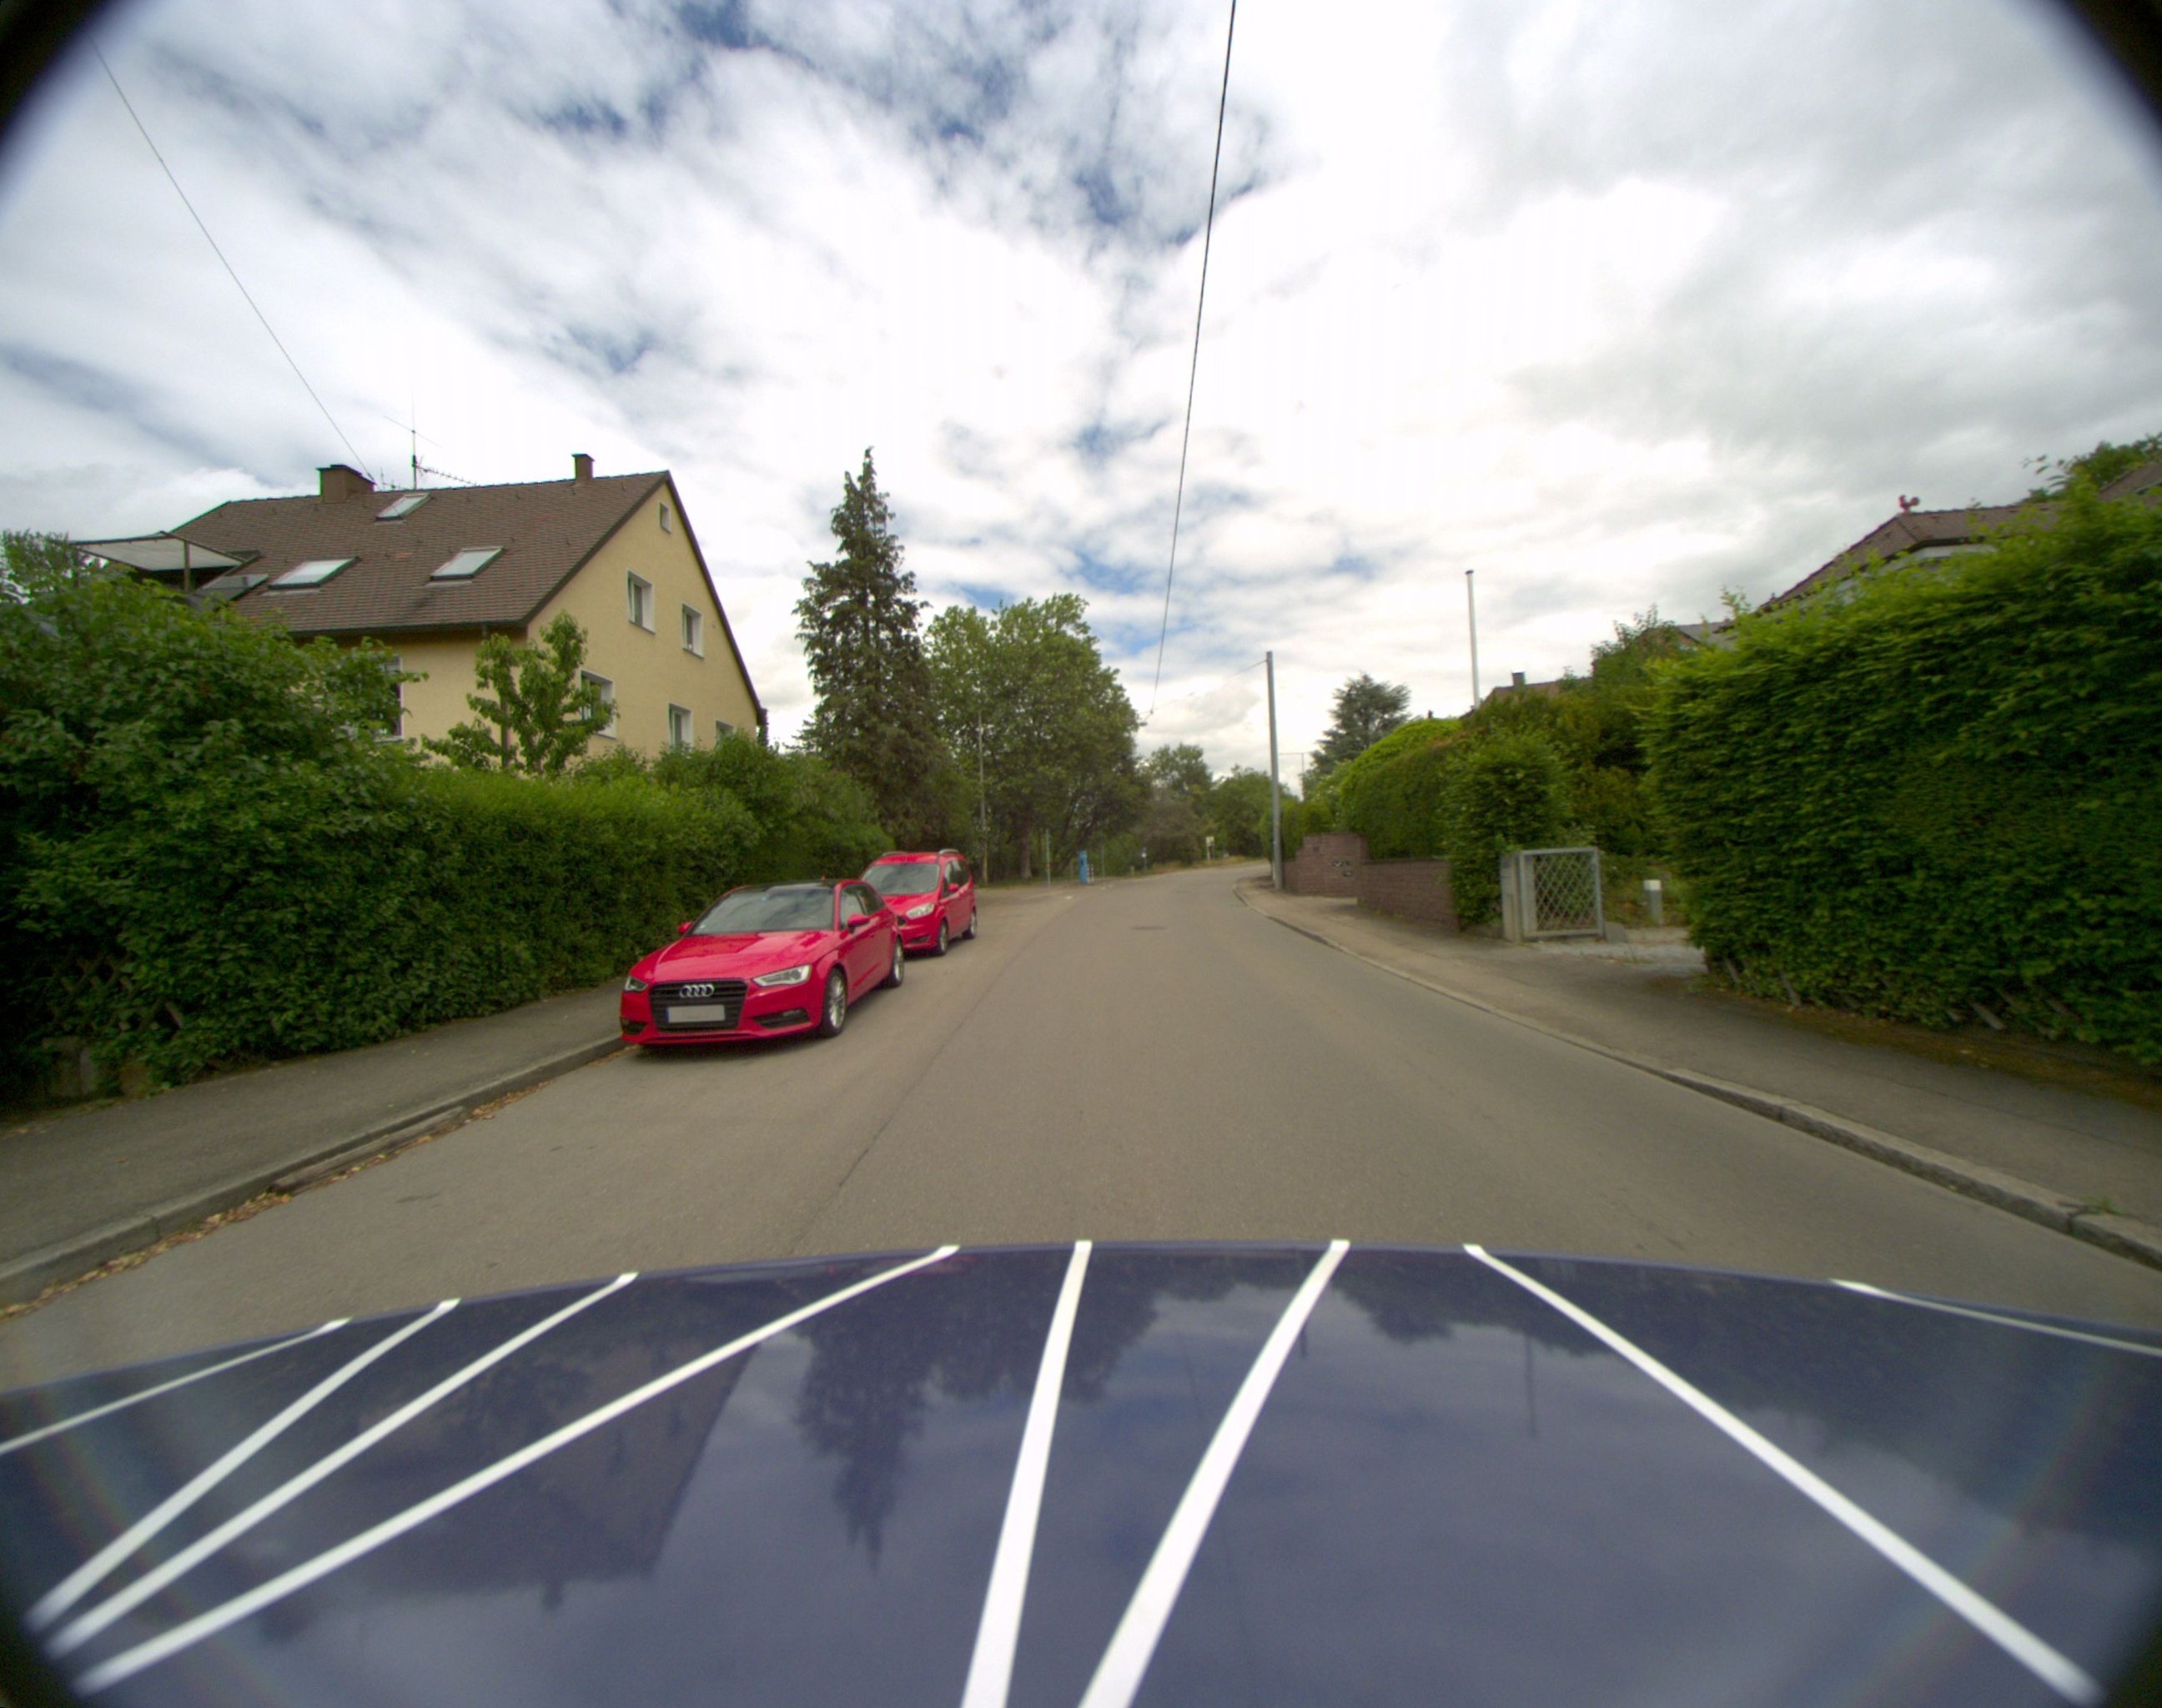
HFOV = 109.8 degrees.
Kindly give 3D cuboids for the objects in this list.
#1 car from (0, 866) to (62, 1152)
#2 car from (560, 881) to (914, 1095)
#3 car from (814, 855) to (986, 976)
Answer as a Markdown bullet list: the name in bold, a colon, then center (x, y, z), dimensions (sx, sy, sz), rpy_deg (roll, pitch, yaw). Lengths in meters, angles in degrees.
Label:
- **car**: center (-8.871, 1.032, 3.961), dimensions (4.489, 1.741, 1.931), rpy_deg (-2, 0, 1)
- **car**: center (-3.121, 1.107, 8.033), dimensions (1.704, 1.421, 4.395), rpy_deg (-3, 0, 0)
- **car**: center (-3.010, 0.935, 13.573), dimensions (1.771, 1.755, 4.163), rpy_deg (-3, 0, 3)
